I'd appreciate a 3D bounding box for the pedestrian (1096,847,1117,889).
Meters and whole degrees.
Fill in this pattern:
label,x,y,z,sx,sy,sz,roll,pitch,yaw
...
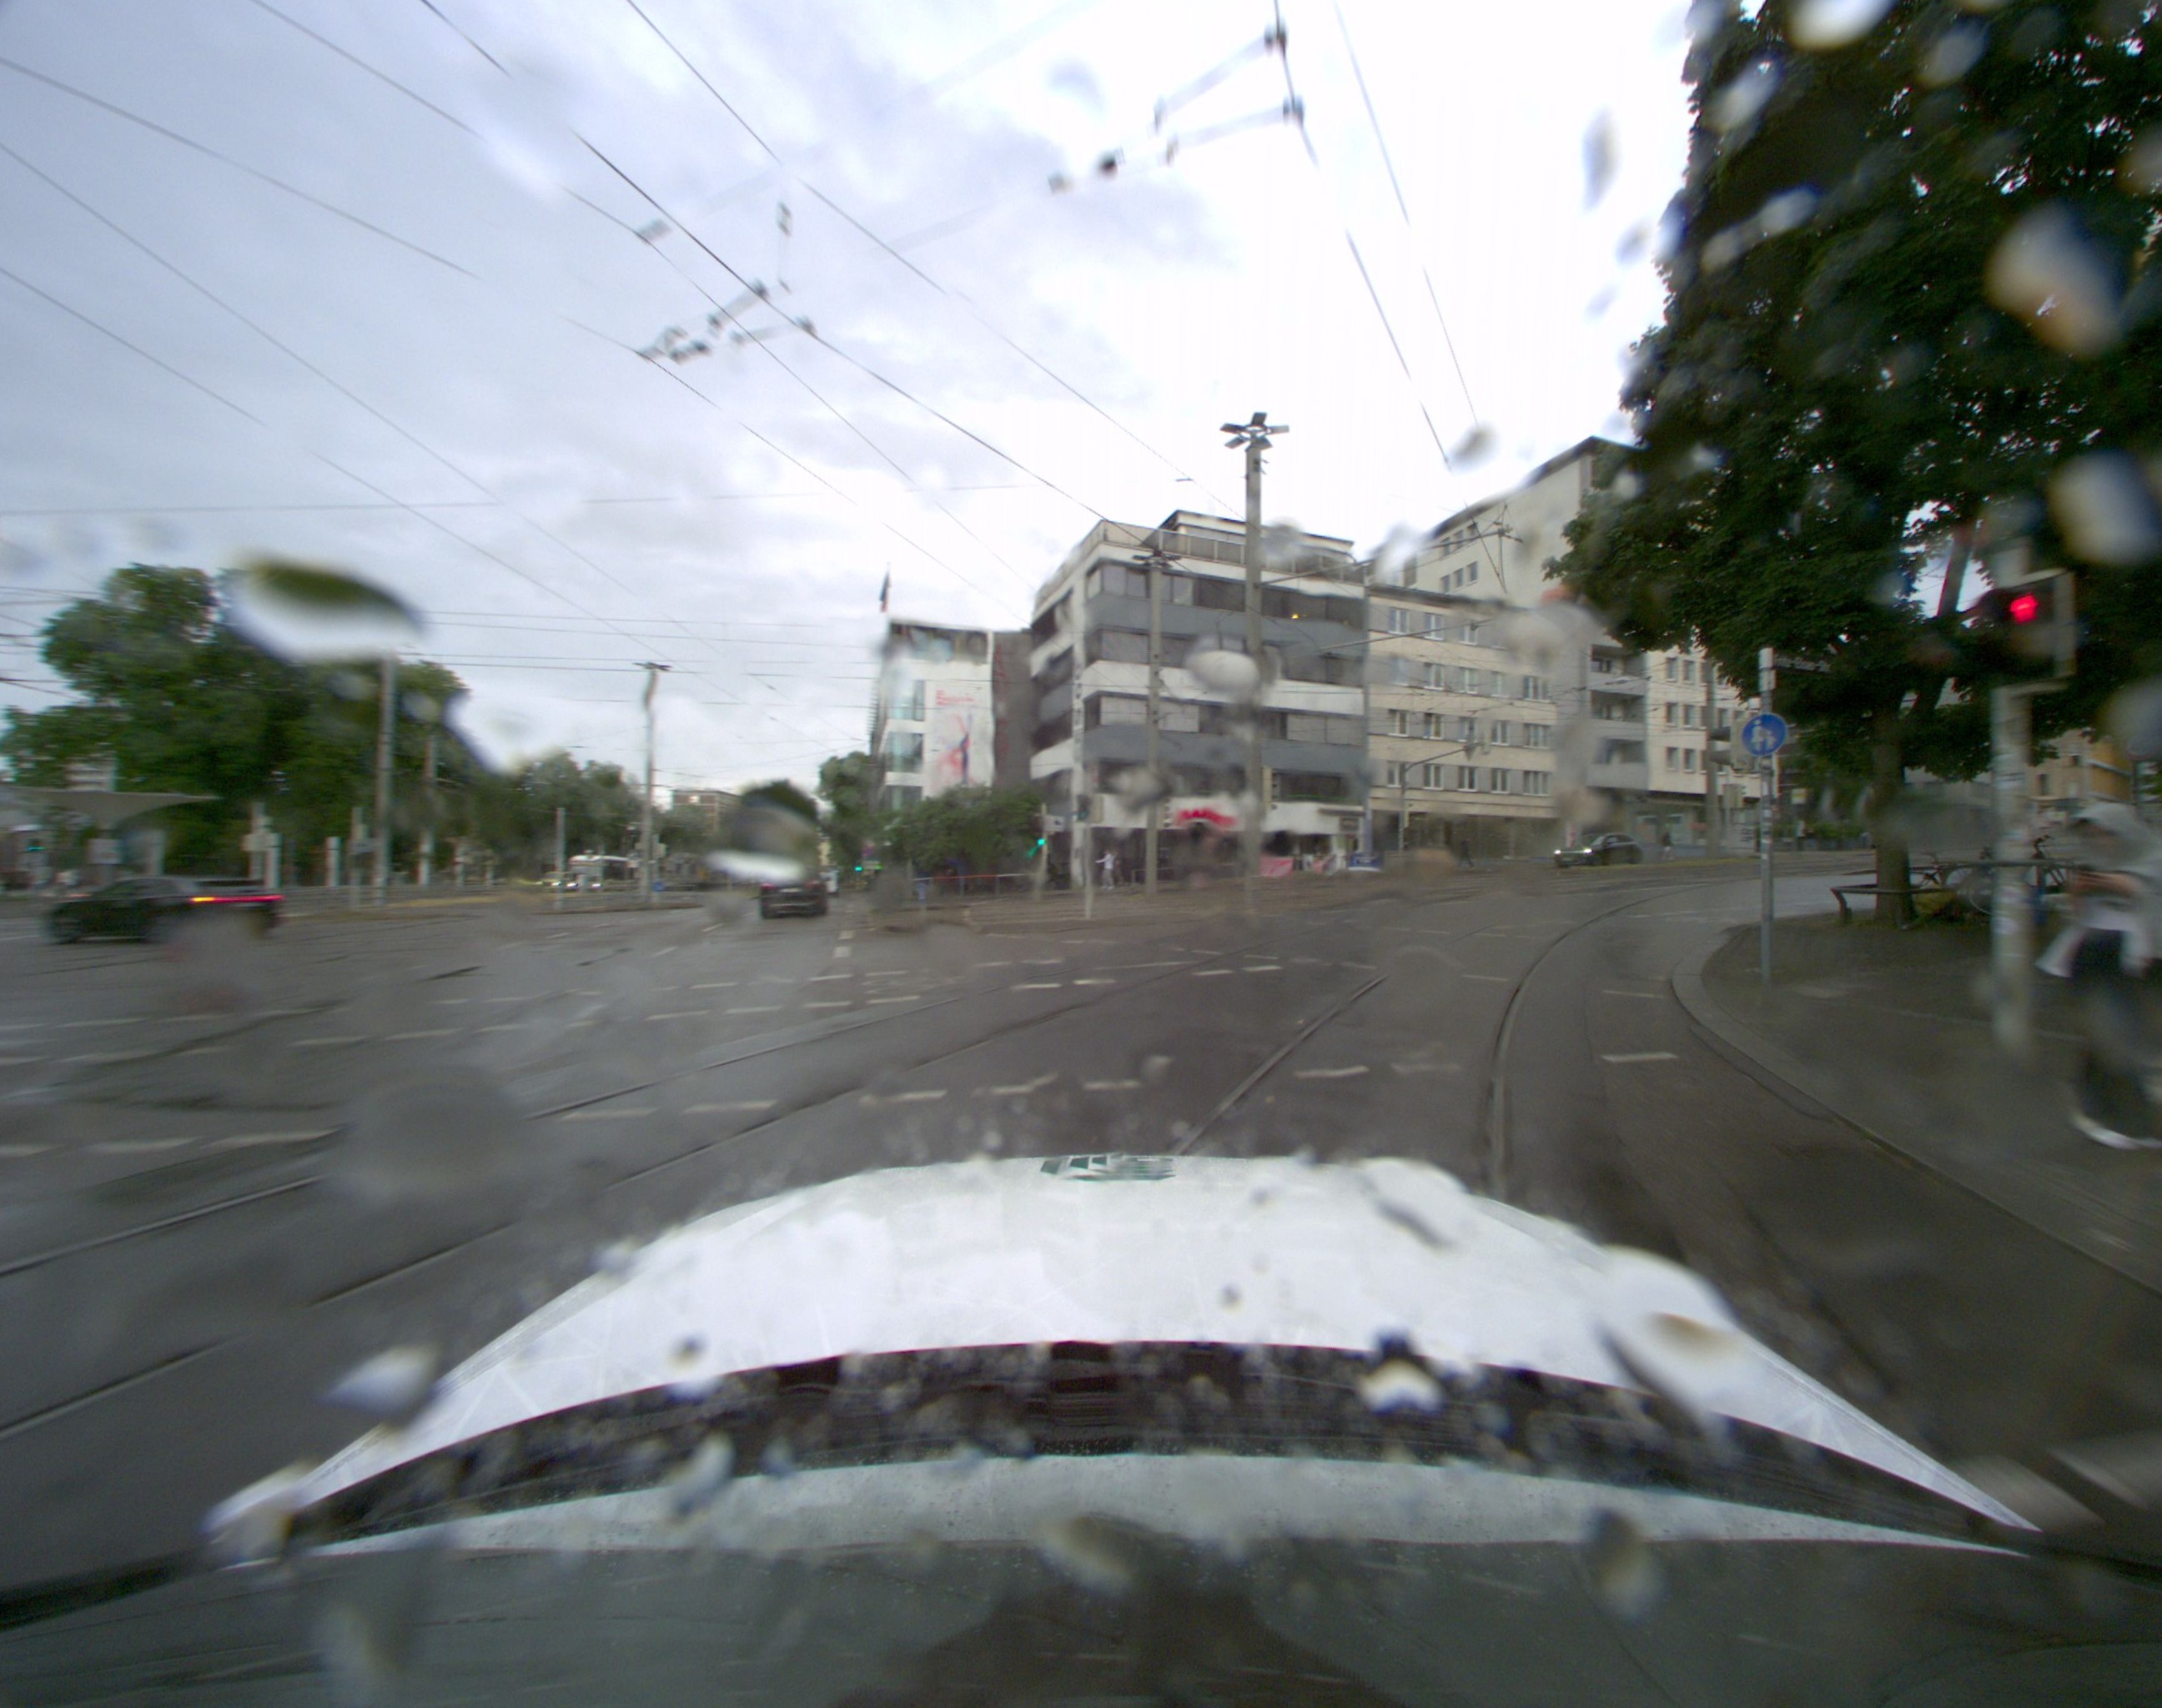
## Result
label,x,y,z,sx,sy,sz,roll,pitch,yaw
pedestrian,1.185,0.664,37.612,0.710,1.914,0.702,-1,-1,23

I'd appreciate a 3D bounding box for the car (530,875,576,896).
label,x,y,z,sx,sy,sz,roll,pitch,yaw
car,-46.298,2.721,71.540,1.997,1.646,4.514,-1,0,-14

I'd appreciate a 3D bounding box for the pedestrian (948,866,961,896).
label,x,y,z,sx,sy,sz,roll,pitch,yaw
pedestrian,-6.689,1.397,43.021,0.539,1.563,0.522,-1,-1,5

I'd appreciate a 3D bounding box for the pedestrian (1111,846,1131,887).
label,x,y,z,sx,sy,sz,roll,pitch,yaw
pedestrian,1.863,0.593,38.160,0.710,1.914,0.702,-1,-1,23

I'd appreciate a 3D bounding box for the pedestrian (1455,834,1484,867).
label,x,y,z,sx,sy,sz,roll,pitch,yaw
pedestrian,20.291,-0.178,42.532,0.998,1.681,0.885,-2,-1,-18

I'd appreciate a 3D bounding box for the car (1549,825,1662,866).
label,x,y,z,sx,sy,sz,roll,pitch,yaw
car,24.359,-0.388,37.843,4.526,1.673,1.987,-2,0,-19

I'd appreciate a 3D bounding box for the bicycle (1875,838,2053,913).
label,x,y,z,sx,sy,sz,roll,pitch,yaw
bicycle,14.100,0.332,13.086,0.648,1.092,1.813,-3,0,-15

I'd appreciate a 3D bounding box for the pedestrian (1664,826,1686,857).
label,x,y,z,sx,sy,sz,roll,pitch,yaw
pedestrian,34.313,-0.722,47.055,0.910,1.738,0.594,-2,-1,-21

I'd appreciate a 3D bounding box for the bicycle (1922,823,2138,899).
label,x,y,z,sx,sy,sz,roll,pitch,yaw
bicycle,15.877,0.118,13.744,0.648,1.174,2.311,-1,-1,-15

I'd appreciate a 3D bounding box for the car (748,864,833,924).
label,x,y,z,sx,sy,sz,roll,pitch,yaw
car,-8.582,1.126,24.438,2.039,1.584,4.369,0,0,-15

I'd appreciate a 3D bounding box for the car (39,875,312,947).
label,x,y,z,sx,sy,sz,roll,pitch,yaw
car,-21.248,1.325,19.201,4.686,1.506,2.112,-1,-1,10

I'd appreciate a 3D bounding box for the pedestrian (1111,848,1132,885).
label,x,y,z,sx,sy,sz,roll,pitch,yaw
pedestrian,1.931,0.599,38.930,0.710,1.762,0.702,-2,-1,30

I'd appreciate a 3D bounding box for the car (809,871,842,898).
label,x,y,z,sx,sy,sz,roll,pitch,yaw
car,-19.365,2.279,61.794,2.038,1.840,4.372,0,0,-13

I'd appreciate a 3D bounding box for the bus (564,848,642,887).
label,x,y,z,sx,sy,sz,roll,pitch,yaw
bus,-44.602,1.207,76.516,3.083,3.301,12.456,-1,0,-15

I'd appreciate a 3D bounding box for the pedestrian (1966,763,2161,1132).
label,x,y,z,sx,sy,sz,roll,pitch,yaw
pedestrian,5.095,0.434,4.143,0.522,1.712,0.709,-1,0,23
